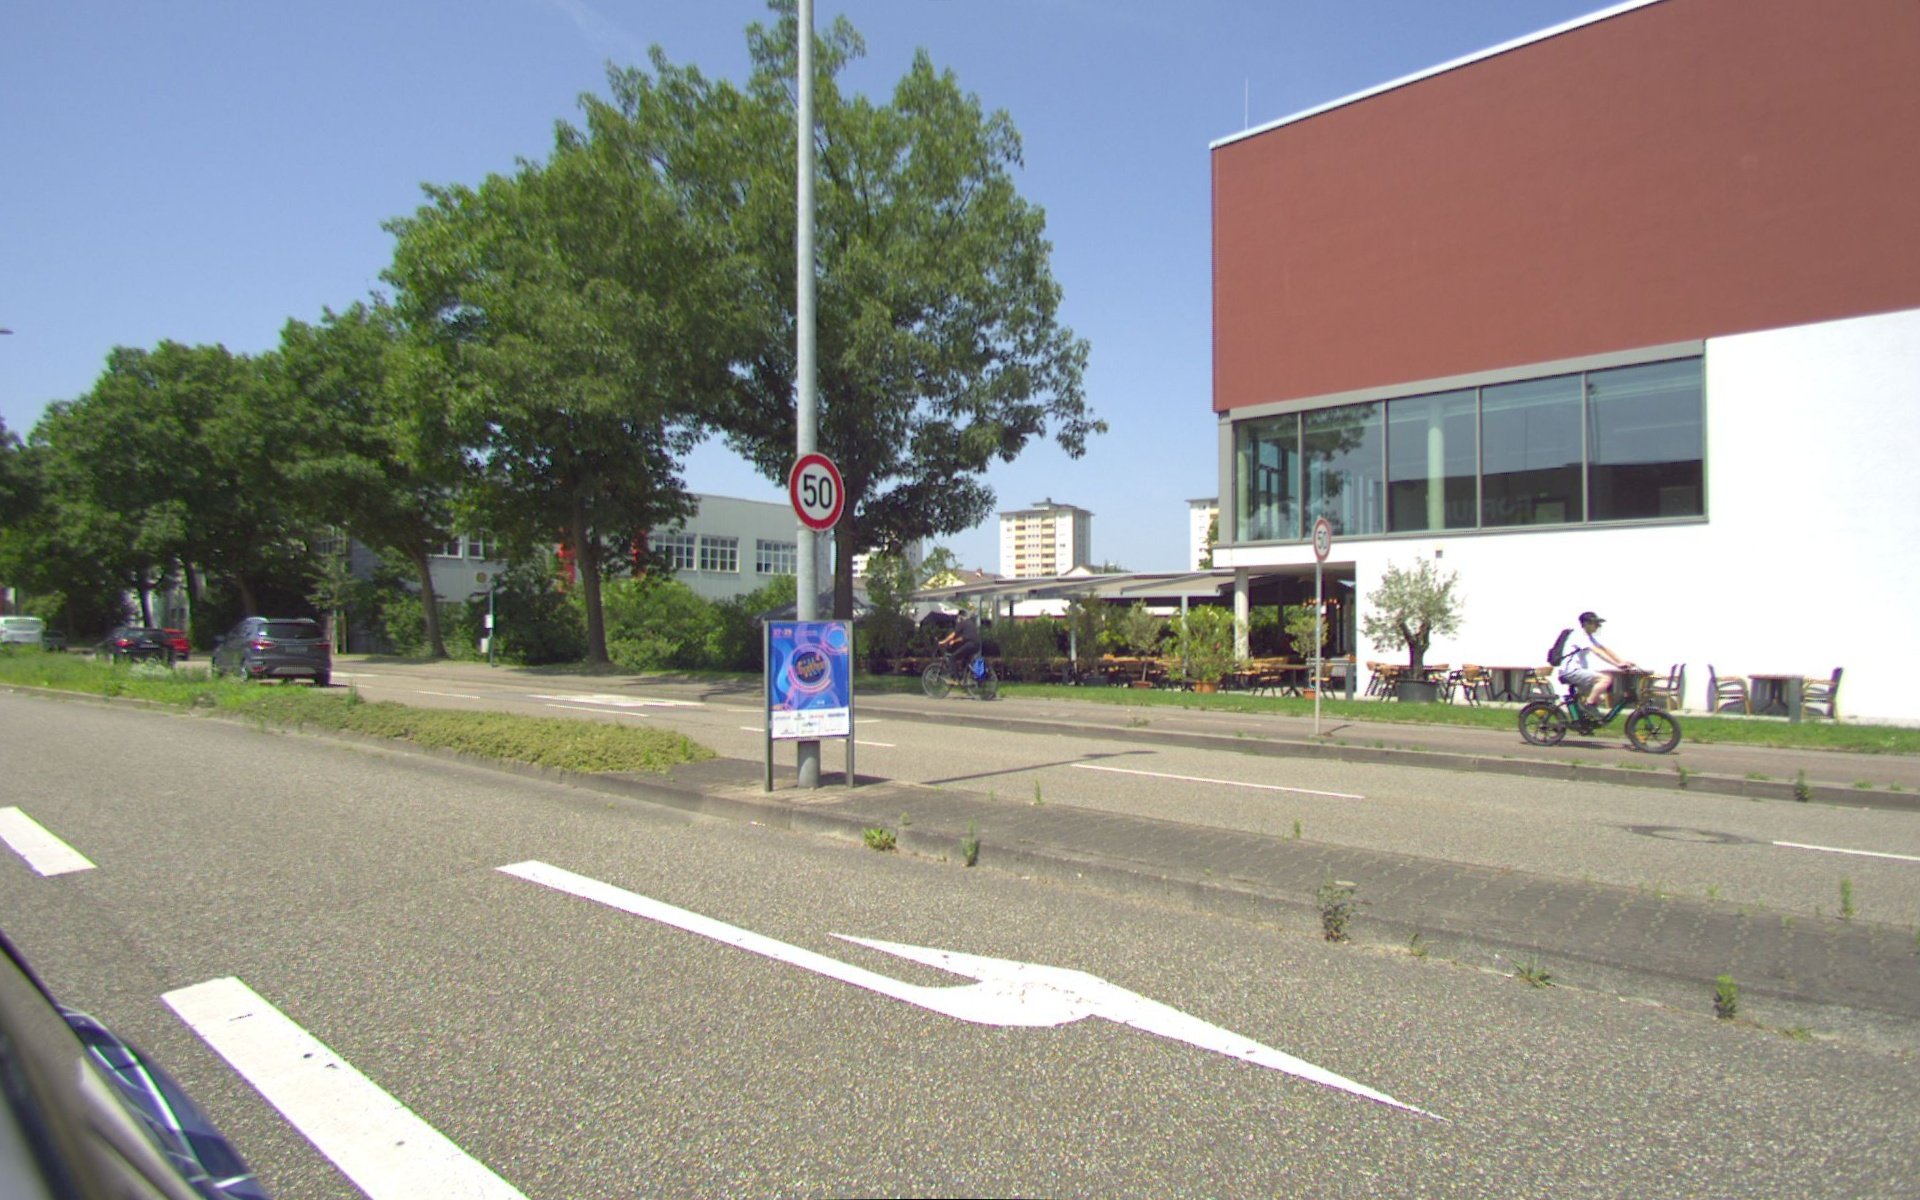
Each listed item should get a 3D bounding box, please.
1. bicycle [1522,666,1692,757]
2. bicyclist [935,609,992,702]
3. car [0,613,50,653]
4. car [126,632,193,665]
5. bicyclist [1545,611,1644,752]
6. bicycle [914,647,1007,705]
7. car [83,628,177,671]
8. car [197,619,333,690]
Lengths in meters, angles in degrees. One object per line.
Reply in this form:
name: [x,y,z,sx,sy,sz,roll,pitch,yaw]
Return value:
bicycle: [7.819,1.319,12.280,1.659,0.976,0.611,-1,-2,41]
bicyclist: [0.061,1.075,19.897,0.927,1.783,0.643,-2,-2,41]
car: [-48.684,1.699,52.093,4.904,1.960,1.973,-1,-4,40]
car: [-37.539,2.272,47.415,3.889,1.464,1.688,-2,-5,41]
bicyclist: [7.742,0.969,12.360,0.923,1.643,0.601,-1,-3,41]
bicycle: [-0.011,1.474,19.954,1.883,1.059,0.648,-1,-2,41]
car: [-28.329,1.665,34.524,3.996,1.349,1.662,-1,-5,39]
car: [-17.030,1.313,24.738,3.881,1.612,1.670,-1,-5,40]
